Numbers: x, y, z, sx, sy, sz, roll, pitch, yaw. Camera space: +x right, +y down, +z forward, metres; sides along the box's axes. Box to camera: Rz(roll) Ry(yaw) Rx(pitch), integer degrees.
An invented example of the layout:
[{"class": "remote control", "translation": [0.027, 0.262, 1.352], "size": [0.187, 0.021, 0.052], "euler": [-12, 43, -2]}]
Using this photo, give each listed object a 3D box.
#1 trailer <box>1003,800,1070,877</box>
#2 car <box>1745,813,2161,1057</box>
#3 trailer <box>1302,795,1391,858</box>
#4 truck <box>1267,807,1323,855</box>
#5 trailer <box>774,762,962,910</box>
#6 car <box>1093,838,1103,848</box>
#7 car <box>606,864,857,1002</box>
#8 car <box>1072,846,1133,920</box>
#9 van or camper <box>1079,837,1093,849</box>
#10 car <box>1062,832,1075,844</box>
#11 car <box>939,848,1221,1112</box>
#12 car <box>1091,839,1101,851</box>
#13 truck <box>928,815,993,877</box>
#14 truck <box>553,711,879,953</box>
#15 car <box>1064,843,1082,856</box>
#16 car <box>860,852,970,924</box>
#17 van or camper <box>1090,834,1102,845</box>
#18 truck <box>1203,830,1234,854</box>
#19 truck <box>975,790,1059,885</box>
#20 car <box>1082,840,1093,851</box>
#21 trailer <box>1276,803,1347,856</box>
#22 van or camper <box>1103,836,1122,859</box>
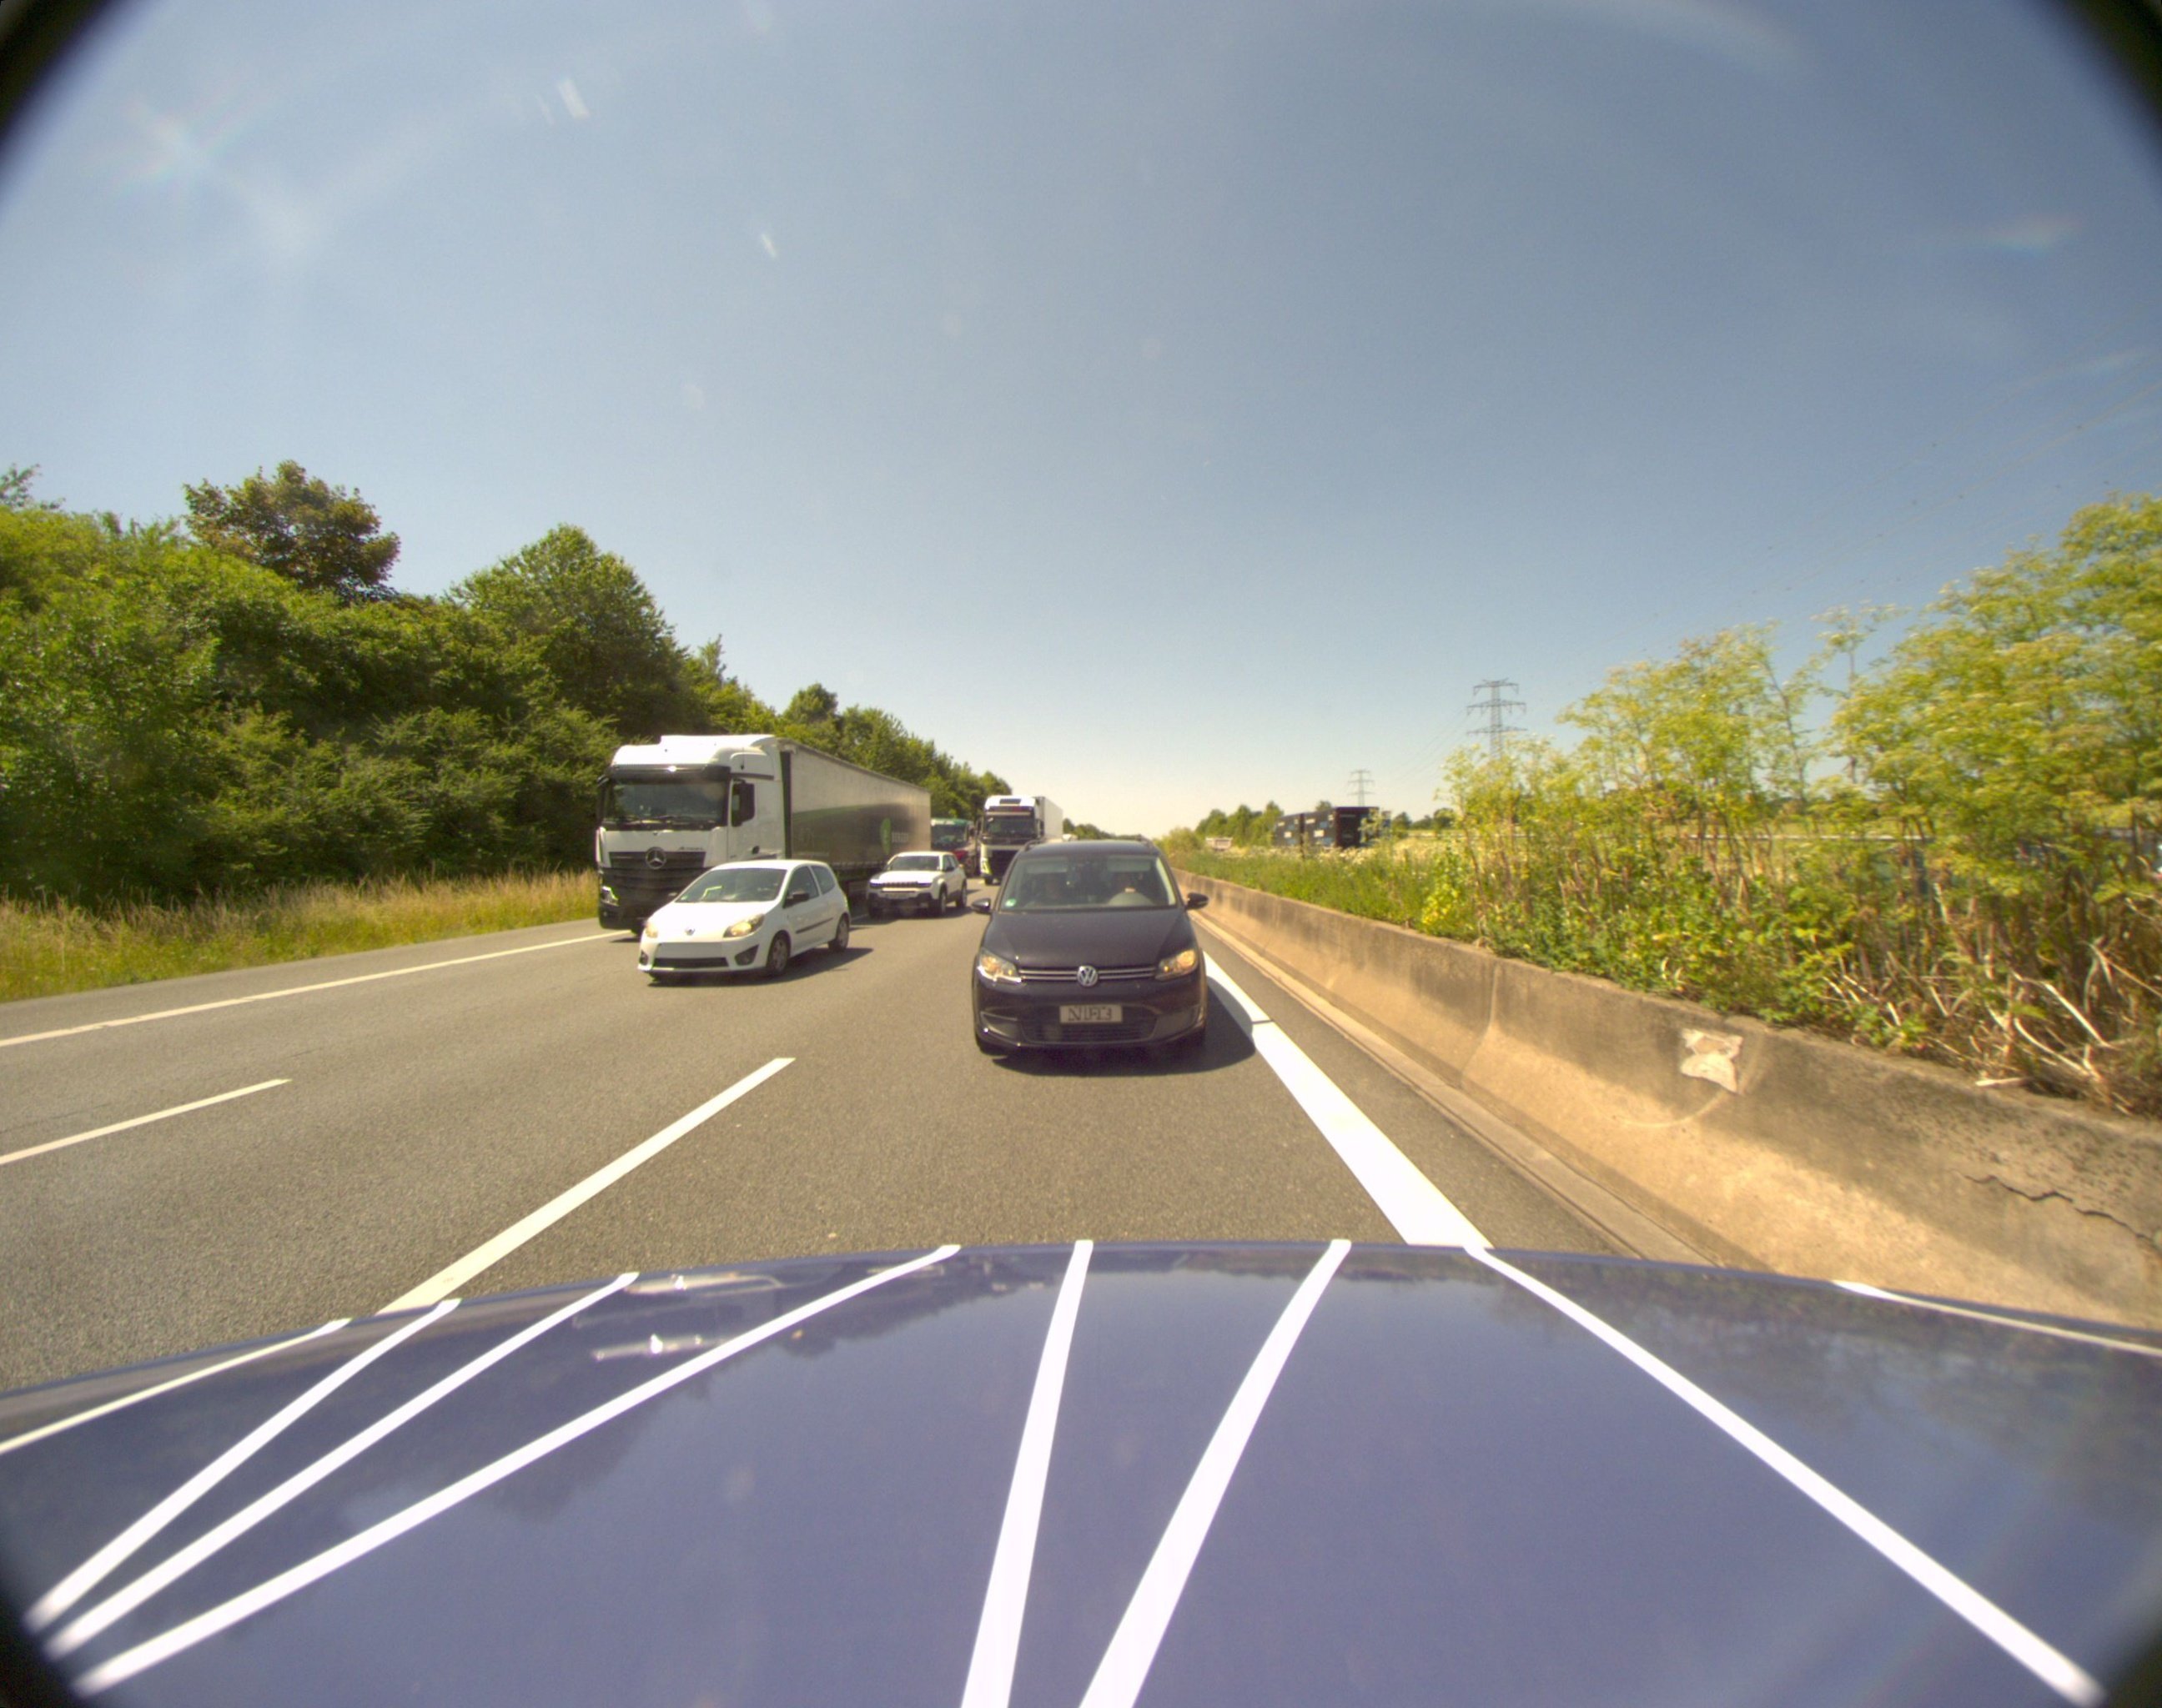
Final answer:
[{"class": "trailer", "translation": [-2.374, -0.894, 44.024], "size": [2.776, 3.951, 9.156], "euler": [-1, 1, 3]}, {"class": "car", "translation": [8.547, 0.546, 7.064], "size": [1.585, 1.744, 3.687], "euler": [-1, 1, 1]}, {"class": "trailer", "translation": [17.238, -1.709, 50.055], "size": [3.190, 3.740, 8.200], "euler": [-1, 1, 1]}, {"class": "truck", "translation": [17.484, -1.859, 62.477], "size": [3.079, 3.688, 5.462], "euler": [-1, 1, 1]}, {"class": "trailer", "translation": [-7.010, -0.609, 27.668], "size": [2.880, 4.133, 12.074], "euler": [-1, 1, 2]}, {"class": "car", "translation": [3.915, -2.616, 174.885], "size": [1.998, 2.302, 4.229], "euler": [-1, 1, 2]}, {"class": "car", "translation": [-4.535, 0.922, 10.539], "size": [1.609, 1.426, 3.809], "euler": [0, 2, 2]}, {"class": "car", "translation": [0.575, 0.661, 19.313], "size": [1.357, 1.630, 2.994], "euler": [-2, 2, 3]}, {"class": "van or camper", "translation": [0.875, -1.967, 136.949], "size": [2.189, 2.018, 4.364], "euler": [-1, 1, 3]}, {"class": "car", "translation": [-2.164, -2.850, 133.742], "size": [1.998, 2.002, 4.000], "euler": [-1, 1, 2]}, {"class": "car", "translation": [0.095, 0.782, 7.443], "size": [1.758, 1.571, 5.291], "euler": [-1, 1, 2]}, {"class": "car", "translation": [3.090, -1.921, 156.355], "size": [1.998, 2.302, 4.229], "euler": [-1, 1, 1]}, {"class": "truck", "translation": [-6.528, -0.442, 41.905], "size": [2.299, 3.128, 5.675], "euler": [-1, 1, 3]}, {"class": "truck", "translation": [-7.476, -0.444, 17.451], "size": [2.879, 4.133, 8.475], "euler": [-1, 1, 3]}, {"class": "car", "translation": [-0.872, -0.536, 83.663], "size": [1.650, 1.336, 3.381], "euler": [-1, 1, 3]}, {"class": "car", "translation": [-4.014, 0.760, 19.008], "size": [1.748, 1.549, 3.884], "euler": [0, 2, 2]}, {"class": "van or camper", "translation": [3.856, -3.752, 195.455], "size": [2.745, 2.680, 5.363], "euler": [-1, 1, 2]}, {"class": "truck", "translation": [19.833, -1.700, 110.252], "size": [2.771, 3.270, 11.819], "euler": [-1, 1, 3]}, {"class": "truck", "translation": [-2.822, -0.772, 36.234], "size": [2.750, 3.972, 8.360], "euler": [-1, 1, 3]}, {"class": "car", "translation": [1.038, -1.364, 120.733], "size": [1.652, 1.636, 4.000], "euler": [-1, 1, 3]}, {"class": "trailer", "translation": [17.413, -1.809, 58.052], "size": [3.132, 3.737, 7.869], "euler": [-1, 1, 1]}, {"class": "van or camper", "translation": [3.549, -0.763, 84.706], "size": [1.956, 2.368, 4.037], "euler": [-2, 2, 3]}]
